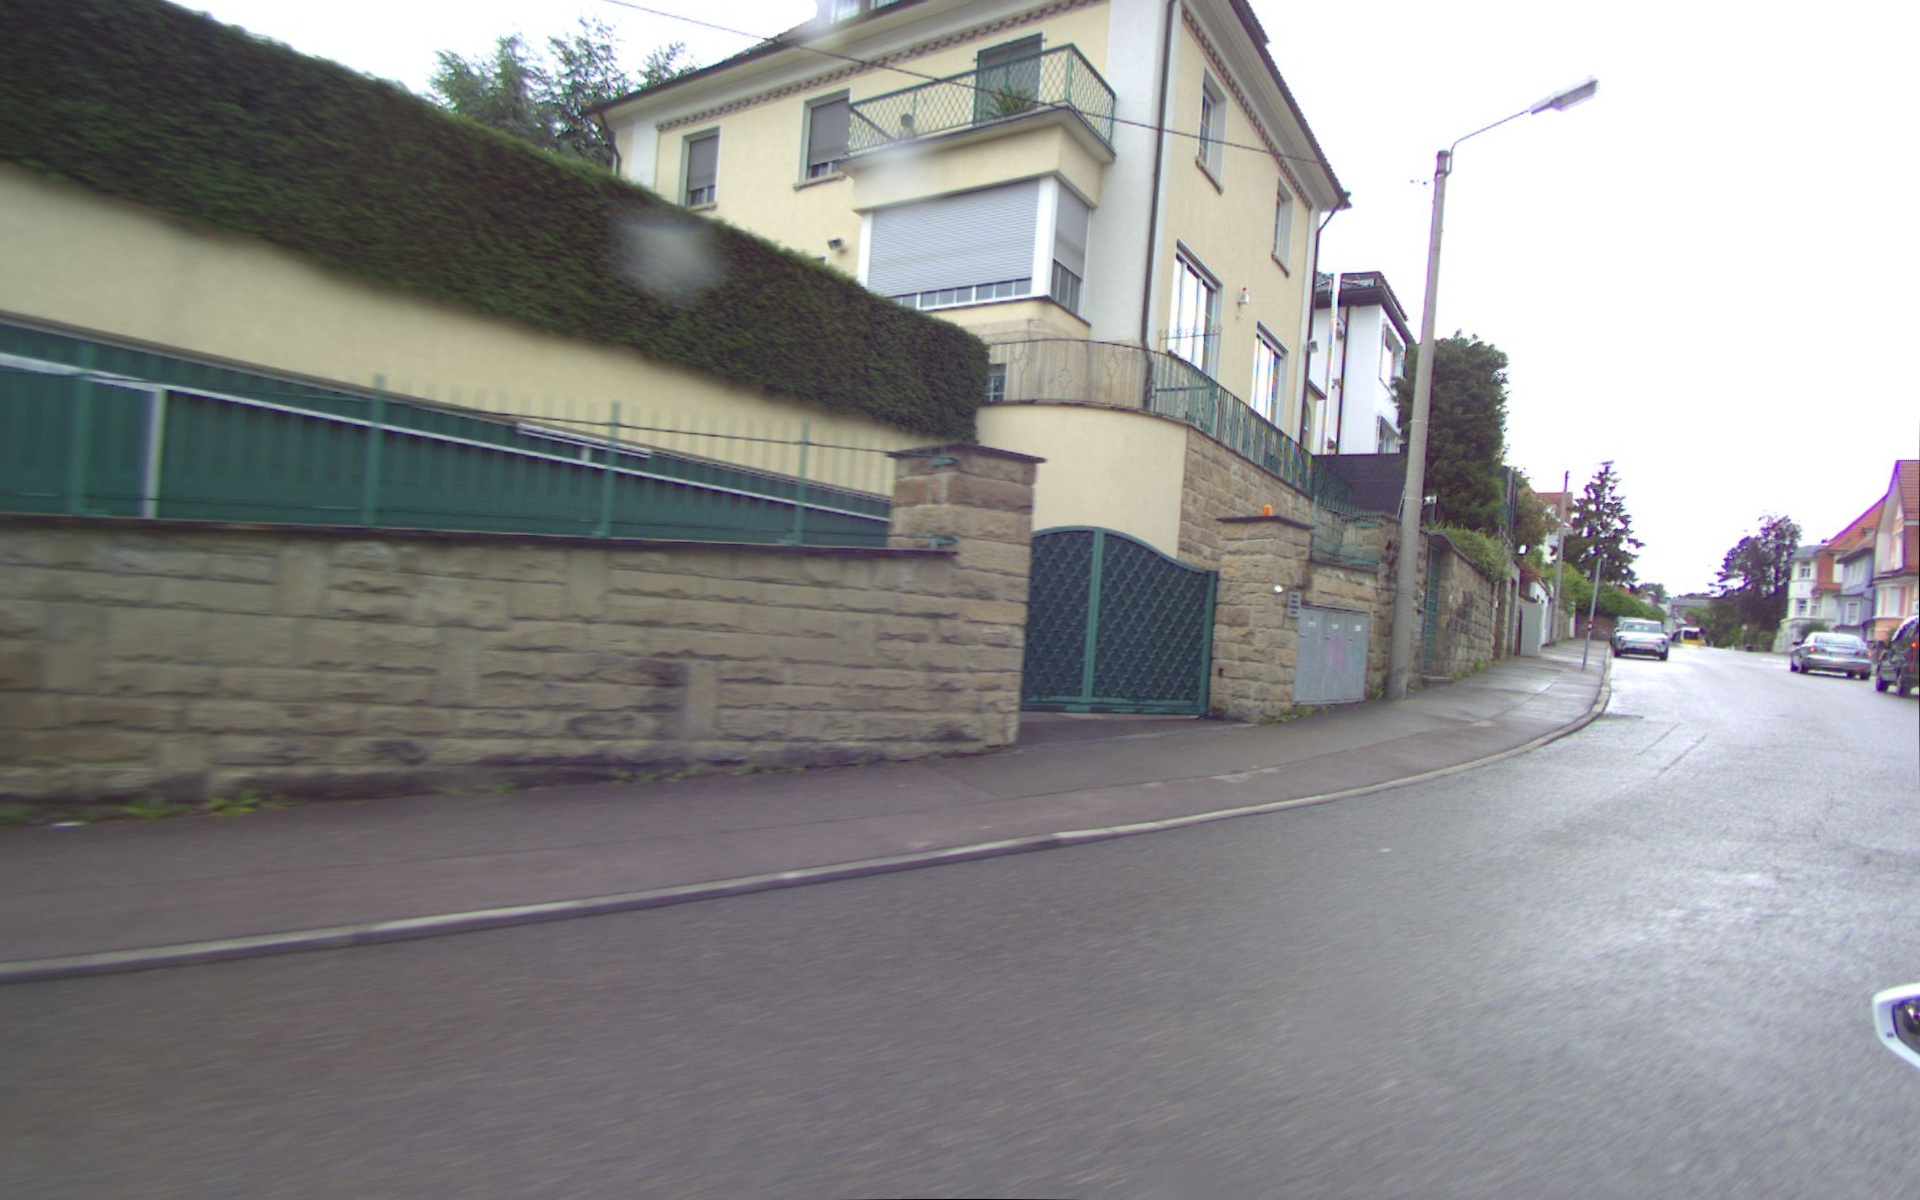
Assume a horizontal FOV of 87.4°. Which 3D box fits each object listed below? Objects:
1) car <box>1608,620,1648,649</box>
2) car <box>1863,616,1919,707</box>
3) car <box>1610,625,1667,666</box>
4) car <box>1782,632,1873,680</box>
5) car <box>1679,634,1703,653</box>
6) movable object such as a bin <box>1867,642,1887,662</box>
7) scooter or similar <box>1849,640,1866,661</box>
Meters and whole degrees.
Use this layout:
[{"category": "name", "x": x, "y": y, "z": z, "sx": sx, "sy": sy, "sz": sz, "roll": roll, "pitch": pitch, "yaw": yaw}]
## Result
[{"category": "car", "x": 40.777, "y": 2.101, "z": 61.305, "sx": 1.872, "sy": 1.535, "sz": 4.329, "roll": 5, "pitch": 2, "yaw": 34}, {"category": "car", "x": 21.885, "y": 1.330, "z": 22.673, "sx": 1.801, "sy": 1.908, "sz": 4.080, "roll": -1, "pitch": -1, "yaw": 36}, {"category": "car", "x": 28.756, "y": 1.883, "z": 42.604, "sx": 1.872, "sy": 1.588, "sz": 4.226, "roll": 2, "pitch": 0, "yaw": 34}, {"category": "car", "x": 29.054, "y": 1.838, "z": 33.764, "sx": 1.828, "sy": 1.478, "sz": 4.083, "roll": 0, "pitch": -1, "yaw": 34}, {"category": "car", "x": 96.701, "y": 5.750, "z": 132.904, "sx": 2.433, "sy": 2.432, "sz": 3.988, "roll": 0, "pitch": -1, "yaw": 34}, {"category": "movable object such as a bin", "x": 50.849, "y": 2.866, "z": 55.709, "sx": 0.701, "sy": 1.043, "sz": 0.755, "roll": 2, "pitch": 0, "yaw": 33}, {"category": "scooter or similar", "x": 55.322, "y": 3.106, "z": 61.925, "sx": 0.685, "sy": 1.240, "sz": 1.292, "roll": 4, "pitch": 1, "yaw": 42}]
